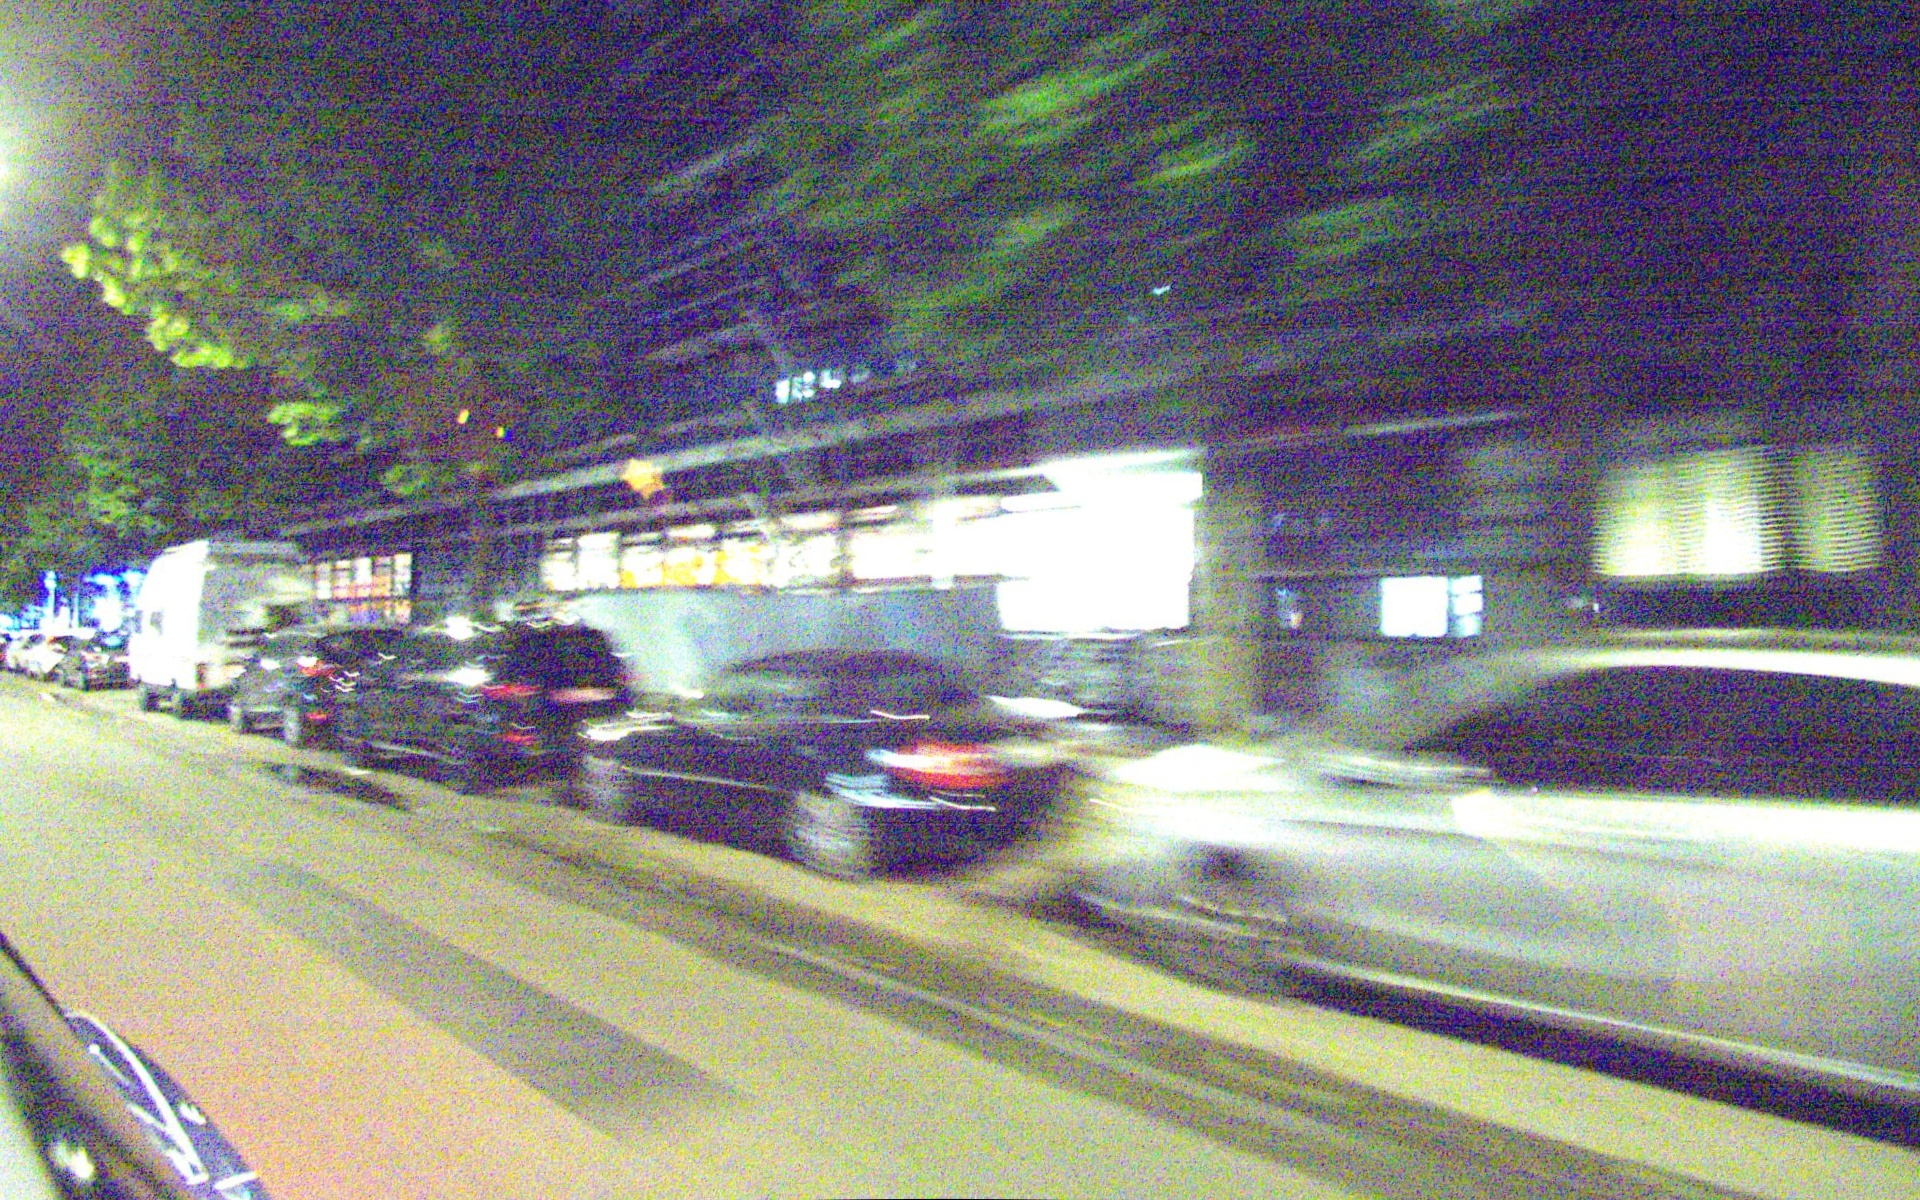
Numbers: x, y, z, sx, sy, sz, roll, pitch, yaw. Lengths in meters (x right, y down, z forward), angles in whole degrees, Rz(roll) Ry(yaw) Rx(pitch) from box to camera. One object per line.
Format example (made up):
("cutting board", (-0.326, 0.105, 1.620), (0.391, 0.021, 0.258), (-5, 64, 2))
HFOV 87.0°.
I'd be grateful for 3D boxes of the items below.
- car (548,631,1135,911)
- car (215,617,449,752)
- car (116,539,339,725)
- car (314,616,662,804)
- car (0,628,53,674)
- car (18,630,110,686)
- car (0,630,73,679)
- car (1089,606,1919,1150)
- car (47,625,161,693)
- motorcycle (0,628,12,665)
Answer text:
("car", (-1.143, 0.991, 7.630), (4.630, 1.422, 1.687), (-2, 1, 41))
("car", (-9.033, 1.091, 14.425), (4.114, 1.619, 1.723), (-2, -1, 42))
("car", (-13.369, 0.539, 18.344), (4.906, 2.931, 2.157), (-1, -1, 40))
("car", (-5.225, 1.011, 10.944), (4.294, 1.619, 1.725), (-1, 0, 39))
("car", (-34.289, 1.823, 36.660), (3.901, 1.516, 1.626), (-1, 0, 40))
("car", (-26.123, 1.652, 29.464), (3.366, 1.466, 1.532), (-2, 0, 40))
("car", (-30.692, 1.765, 33.508), (3.901, 1.440, 1.430), (-1, 1, 40))
("car", (2.766, 0.821, 4.021), (4.202, 1.513, 1.699), (-1, 1, 40))
("car", (-21.673, 1.444, 25.585), (3.859, 1.516, 1.628), (-2, 0, 41))
("motorcycle", (-41.510, 2.004, 42.841), (0.635, 1.561, 1.895), (-1, 0, 21))
